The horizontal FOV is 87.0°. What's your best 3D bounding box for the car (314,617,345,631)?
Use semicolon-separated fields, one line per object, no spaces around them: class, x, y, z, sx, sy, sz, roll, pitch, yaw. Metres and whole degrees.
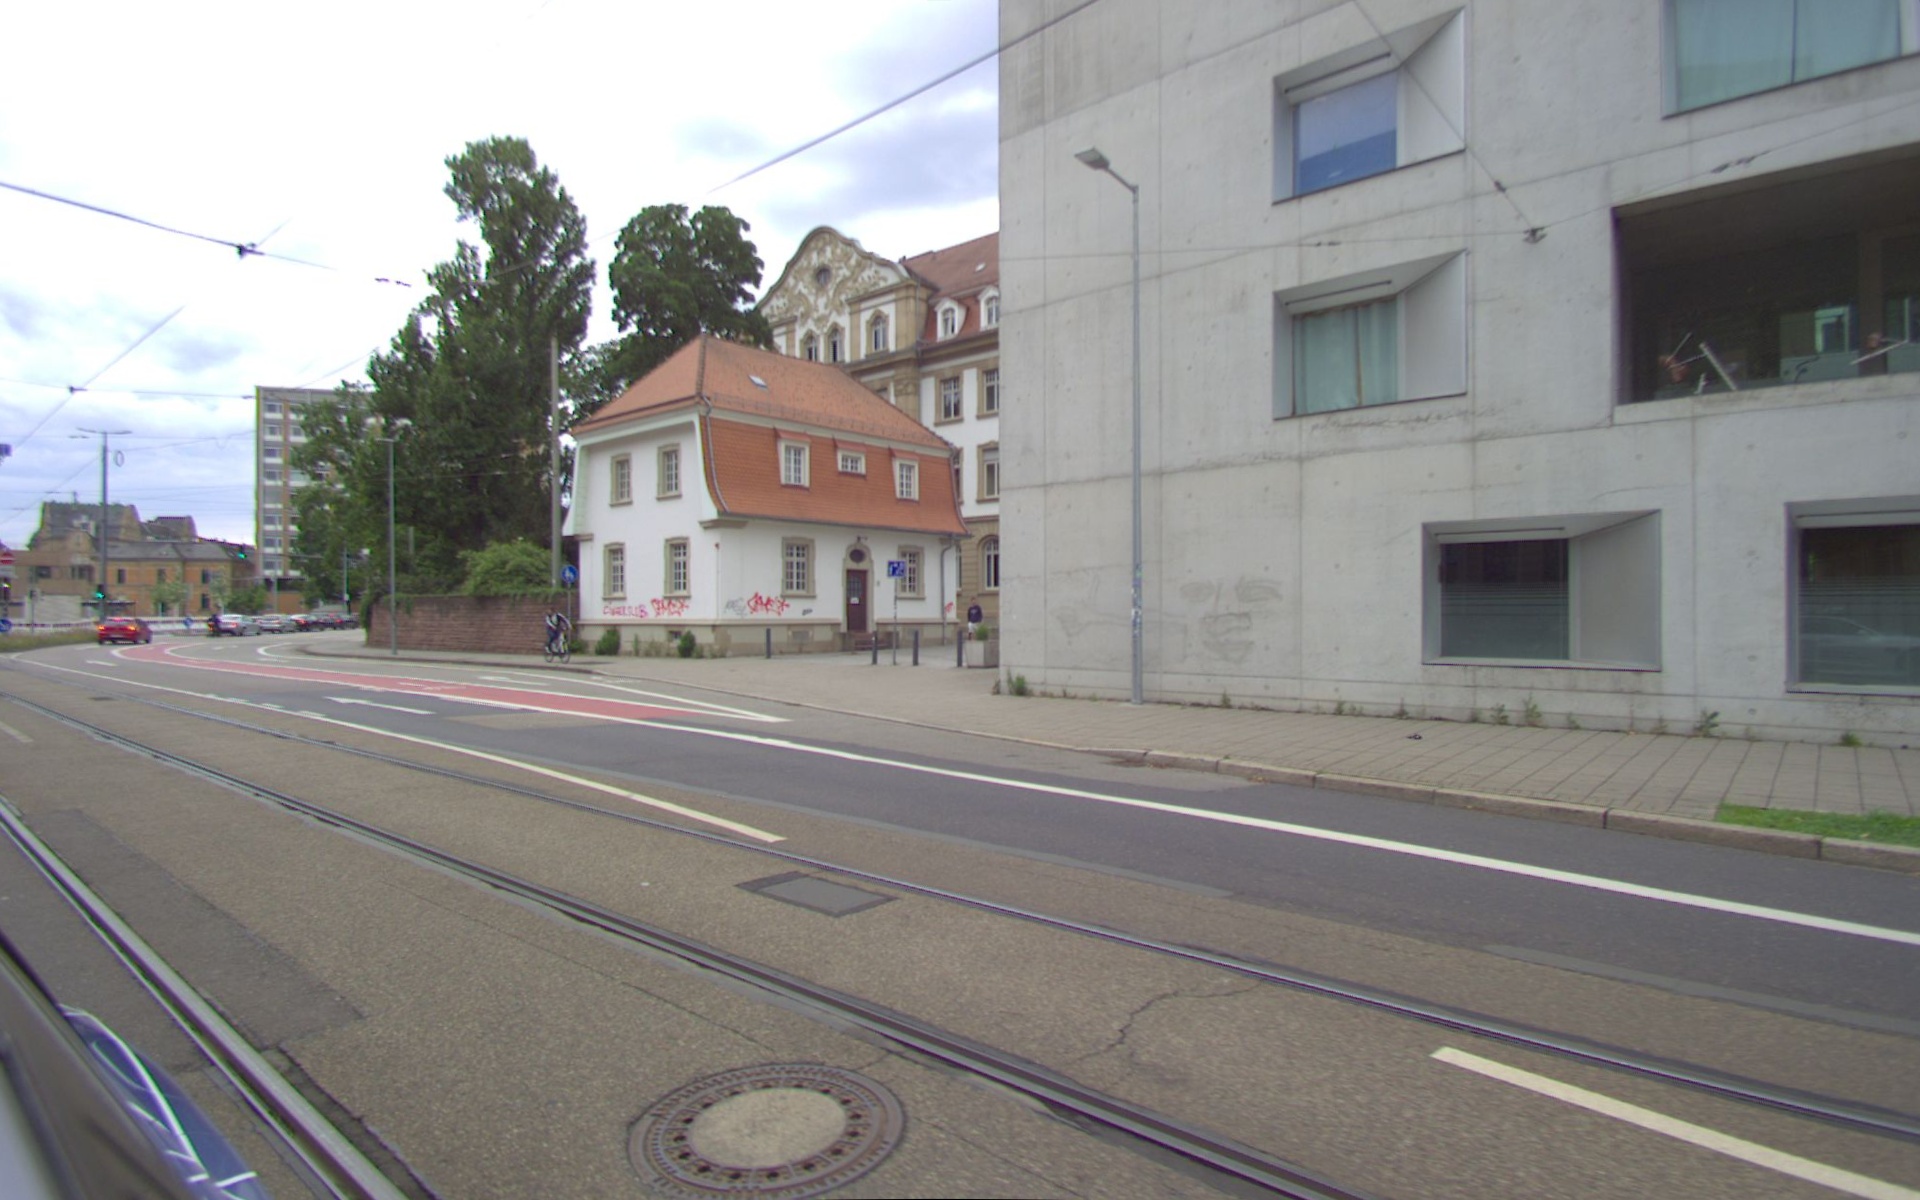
car;-55.612;2.137;89.330;1.400;1.180;3.079;0;-1;-13

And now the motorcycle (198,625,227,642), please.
motorcycle;-49.196;2.203;66.608;1.038;1.077;2.657;0;-1;-25

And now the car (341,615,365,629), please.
car;-57.649;2.064;96.198;1.391;1.342;3.321;0;-1;-21

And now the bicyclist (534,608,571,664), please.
bicyclist;-12.825;1.123;31.821;0.868;1.703;0.766;-1;-2;41

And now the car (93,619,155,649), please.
car;-45.422;1.829;55.055;1.731;1.510;4.013;2;-2;-27

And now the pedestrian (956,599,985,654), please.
pedestrian;0.370;0.912;35.450;0.751;1.899;0.684;1;0;22

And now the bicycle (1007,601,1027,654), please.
bicycle;1.988;0.953;35.240;0.357;1.794;0.933;2;1;23

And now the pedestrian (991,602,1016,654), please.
pedestrian;1.515;0.963;35.342;0.639;1.794;0.684;2;1;24

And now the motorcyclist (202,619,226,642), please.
motorcyclist;-49.348;2.007;66.975;1.058;1.497;1.255;0;-1;-25

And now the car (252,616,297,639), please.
car;-52.690;2.085;77.876;1.658;1.663;3.991;0;-1;-15

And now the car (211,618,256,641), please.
car;-50.622;2.039;70.572;1.469;1.520;3.480;0;-1;-16

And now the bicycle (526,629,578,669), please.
bicycle;-12.857;1.524;31.845;1.868;1.221;0.766;-1;-1;41

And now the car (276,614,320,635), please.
car;-54.391;1.999;83.250;1.757;1.623;4.336;0;-1;-15
